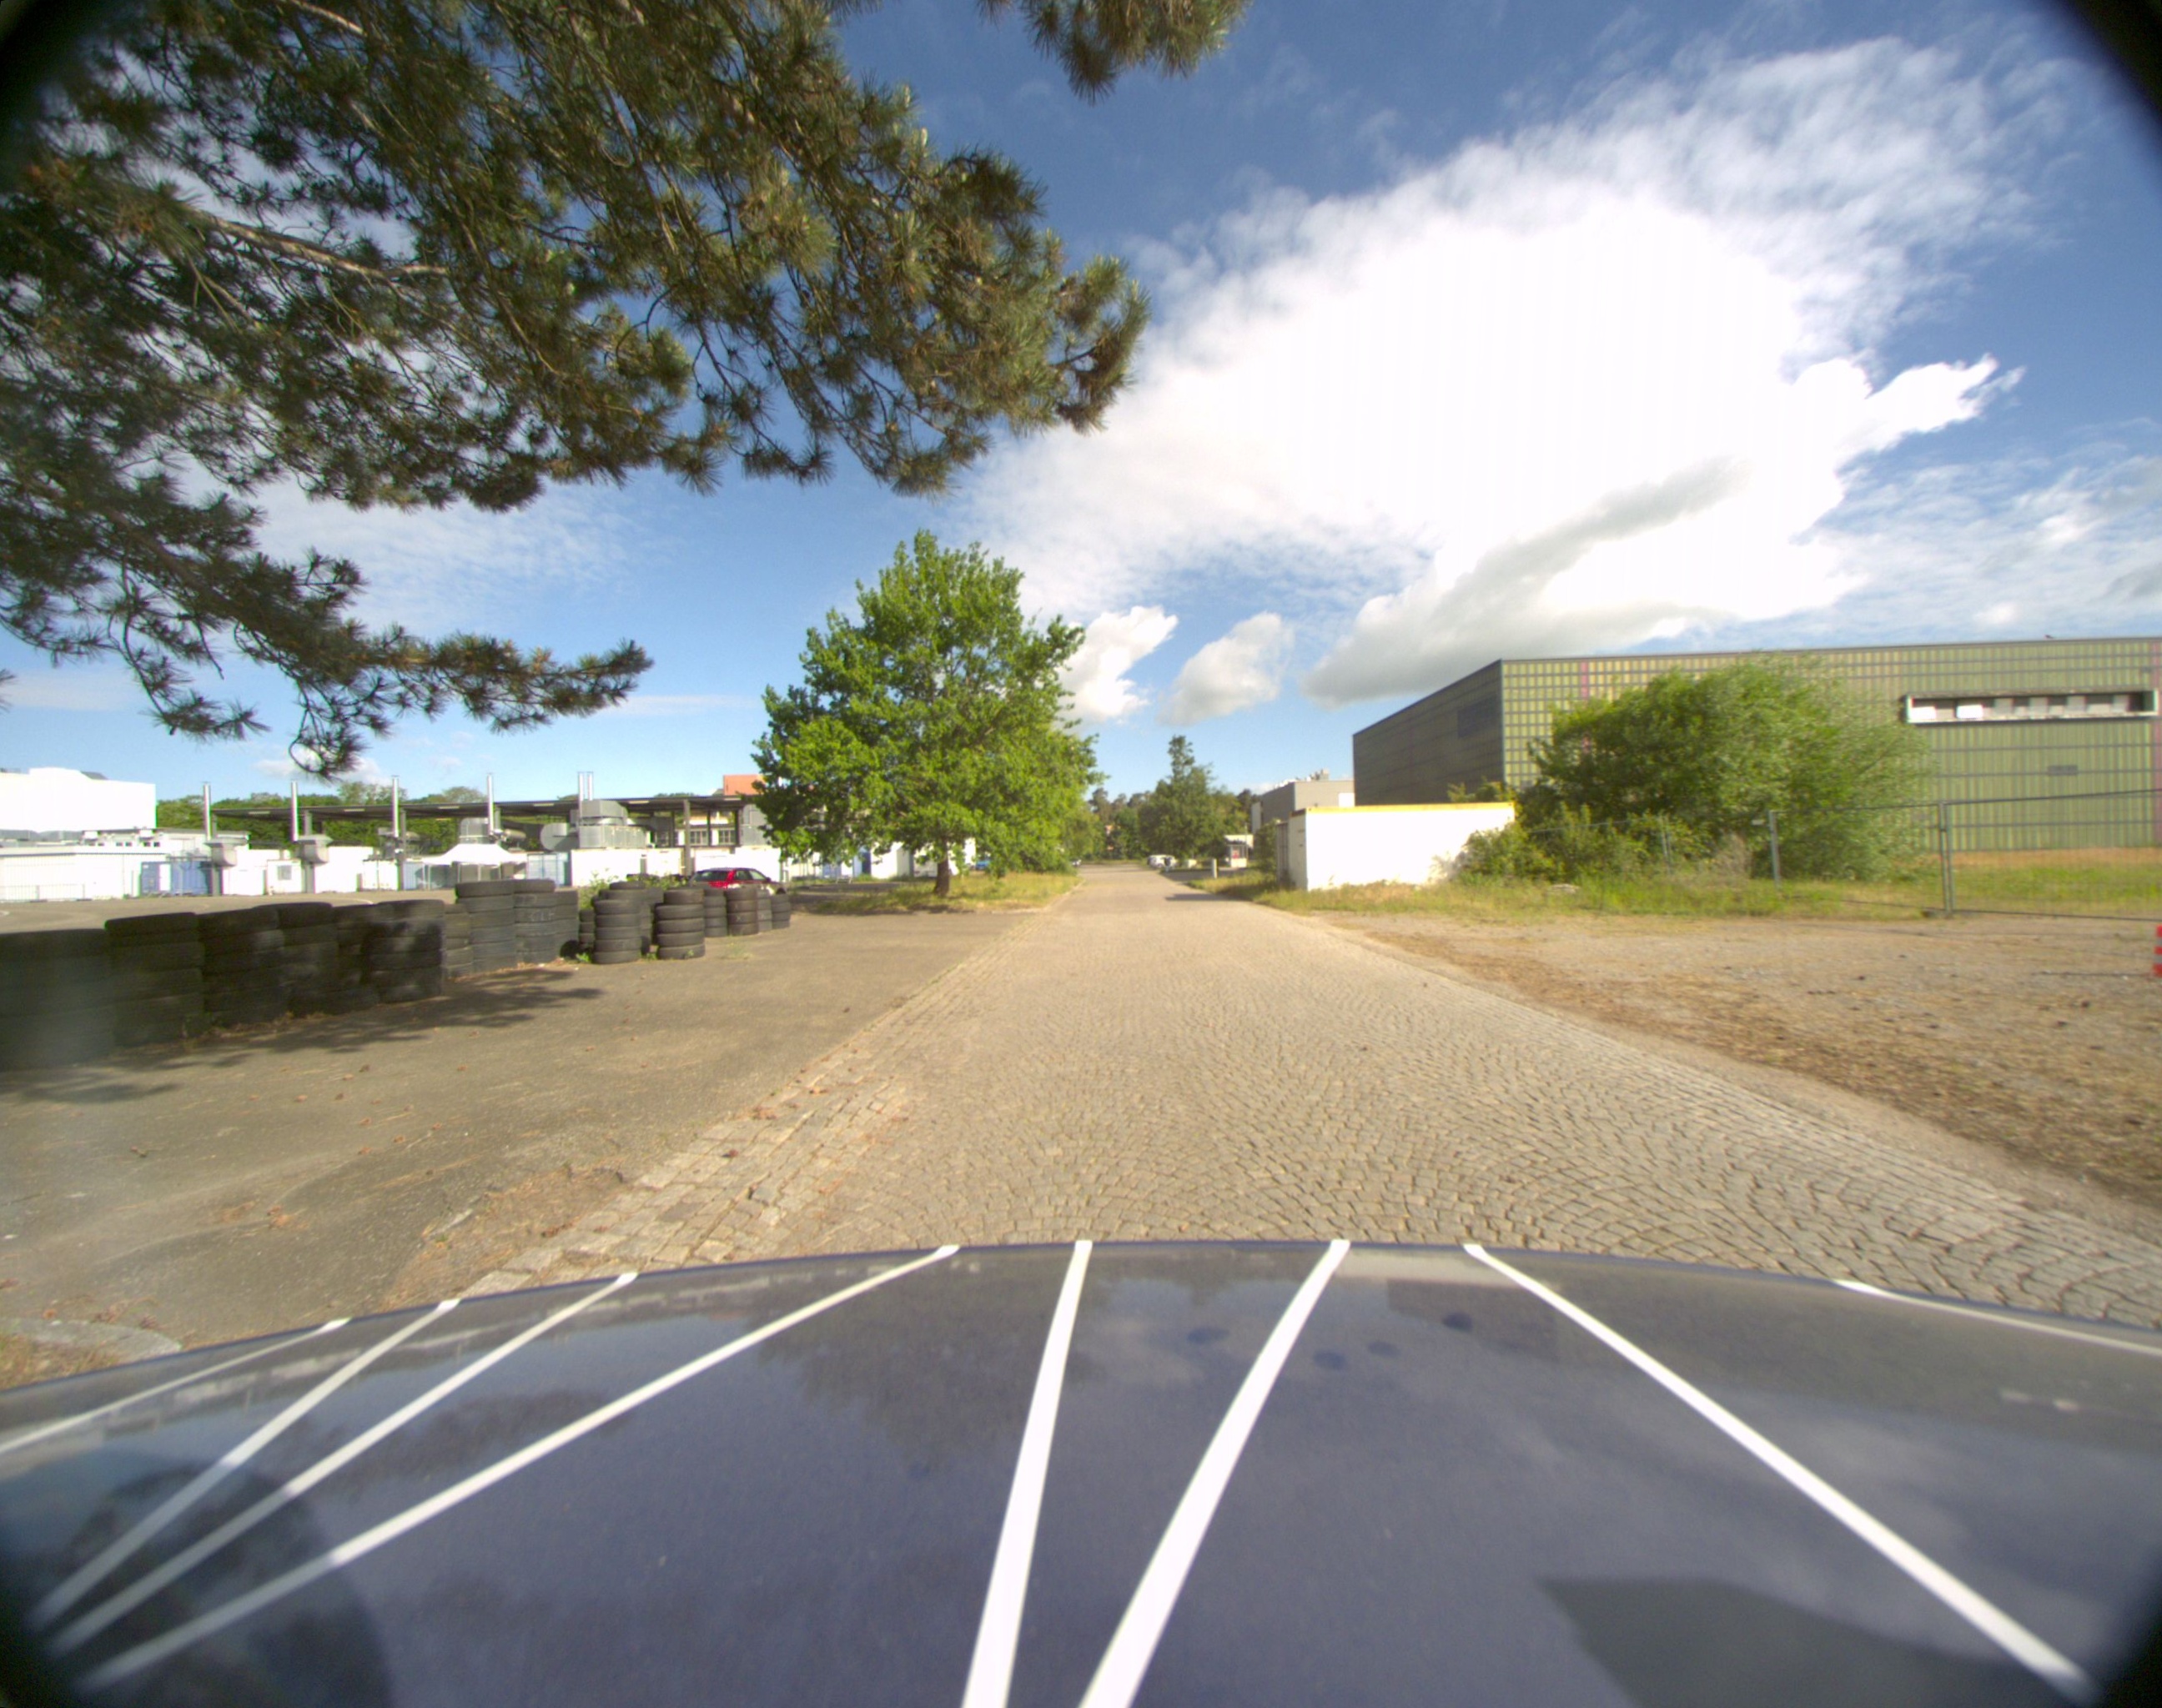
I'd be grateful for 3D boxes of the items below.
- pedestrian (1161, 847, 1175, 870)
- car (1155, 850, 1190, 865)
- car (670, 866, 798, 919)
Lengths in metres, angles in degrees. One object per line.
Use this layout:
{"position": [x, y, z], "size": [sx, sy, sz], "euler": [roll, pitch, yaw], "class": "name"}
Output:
{"position": [6.882, 0.328, 60.177], "size": [0.908, 1.797, 0.983], "euler": [-1, 1, -5], "class": "pedestrian"}
{"position": [10.773, 0.440, 89.386], "size": [3.995, 1.678, 2.001], "euler": [-1, 0, 5], "class": "car"}
{"position": [-11.069, 1.182, 24.594], "size": [1.846, 1.440, 4.002], "euler": [-1, 0, 8], "class": "car"}
